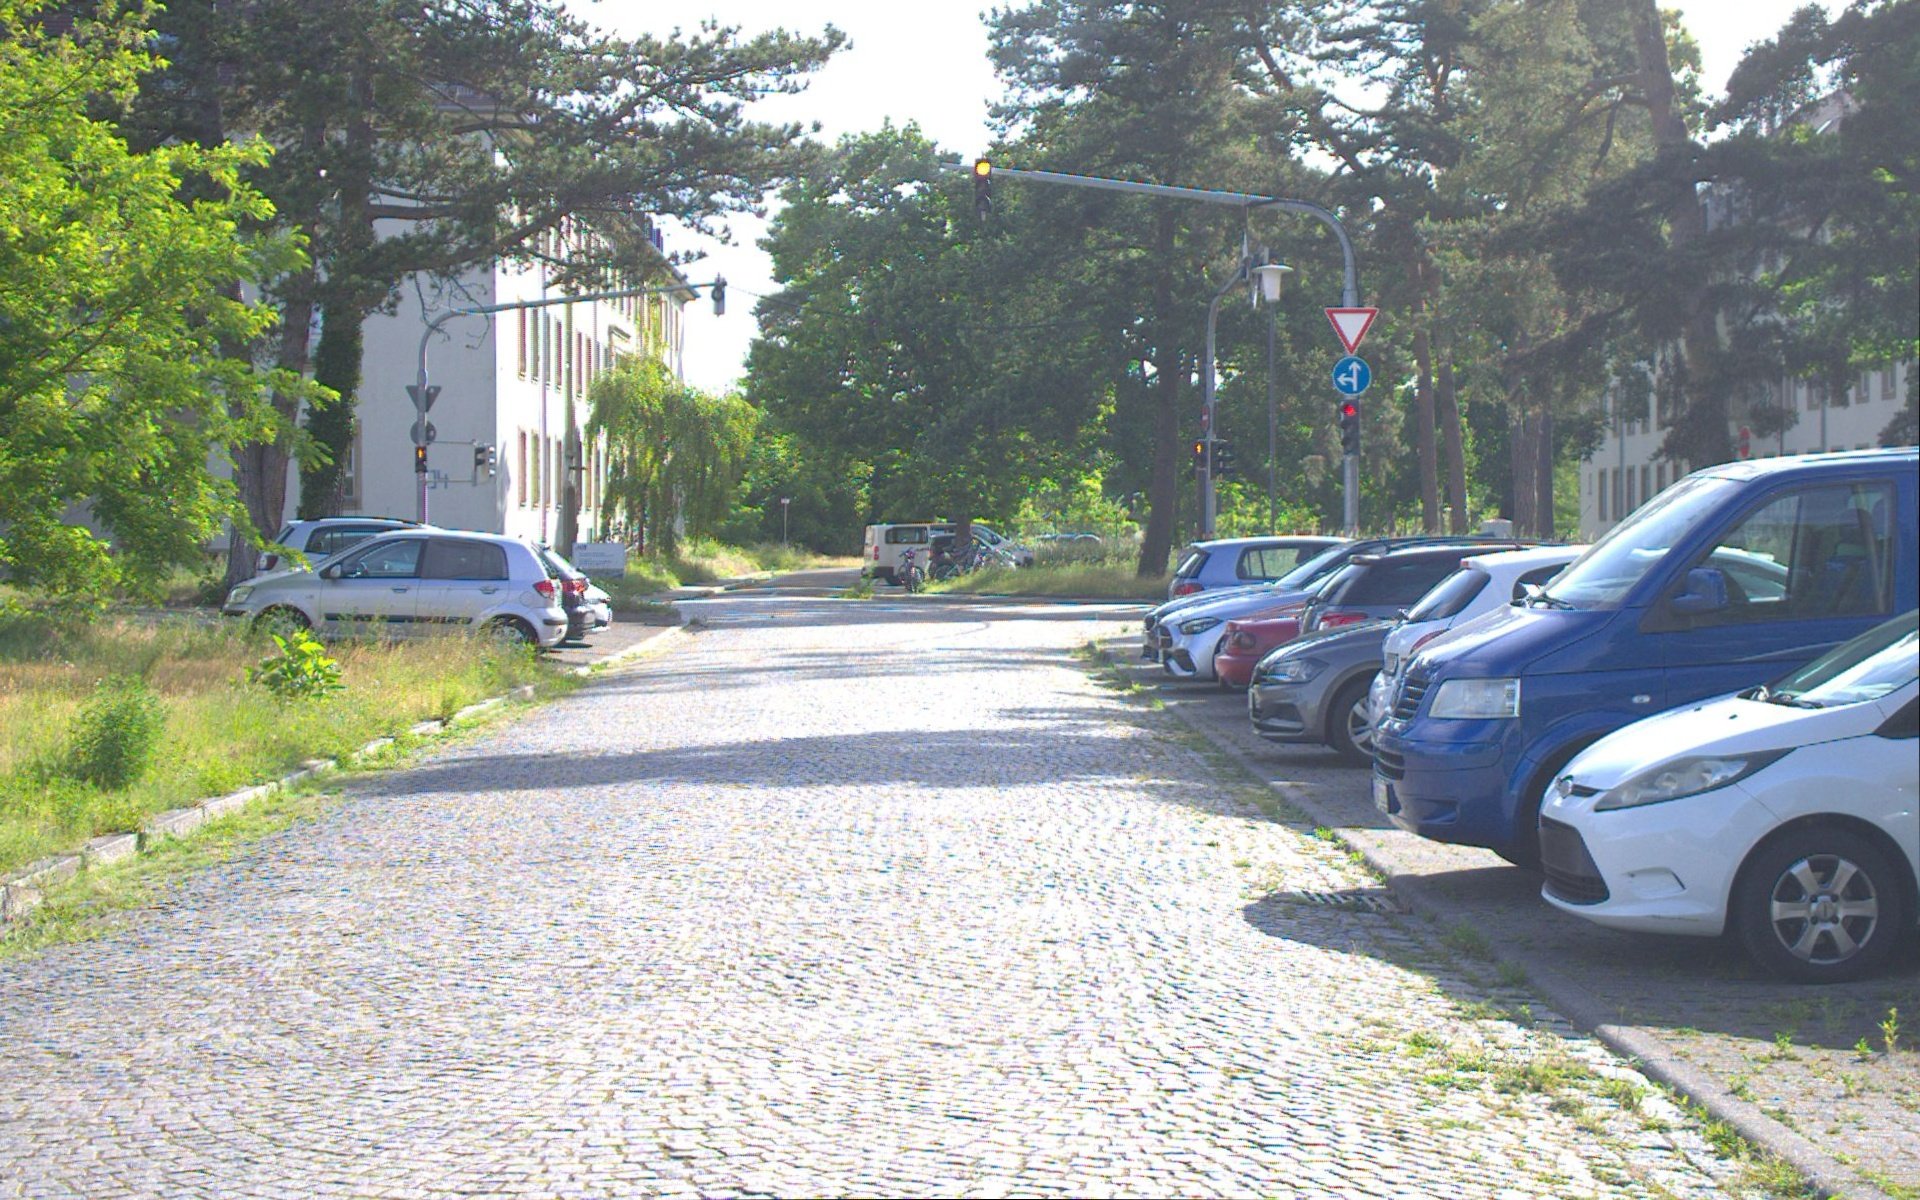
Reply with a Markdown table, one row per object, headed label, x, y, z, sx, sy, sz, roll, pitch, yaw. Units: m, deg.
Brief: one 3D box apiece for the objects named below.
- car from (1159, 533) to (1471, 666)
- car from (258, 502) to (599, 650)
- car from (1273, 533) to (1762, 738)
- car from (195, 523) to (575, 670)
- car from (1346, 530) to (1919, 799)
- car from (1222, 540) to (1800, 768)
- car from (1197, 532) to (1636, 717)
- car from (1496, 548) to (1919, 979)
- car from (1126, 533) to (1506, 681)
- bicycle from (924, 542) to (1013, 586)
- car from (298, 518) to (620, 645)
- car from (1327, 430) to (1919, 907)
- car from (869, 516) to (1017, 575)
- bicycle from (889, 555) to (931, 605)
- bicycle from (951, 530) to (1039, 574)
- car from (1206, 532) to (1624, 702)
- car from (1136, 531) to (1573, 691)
| label | x | y | z | sx | sy | sz | roll | pitch | yaw |
| --- | --- | --- | --- | --- | --- | --- | --- | --- | --- |
| car | 4.014 | -0.022 | 39.255 | 3.343 | 1.477 | 1.646 | 0 | 1 | -2 |
| car | -6.724 | -0.319 | 43.821 | 3.987 | 1.596 | 2.000 | 4 | 1 | -1 |
| car | 4.263 | 0.252 | 26.615 | 3.478 | 1.524 | 1.646 | 0 | 1 | -2 |
| car | -6.369 | -0.059 | 38.436 | 3.986 | 1.595 | 2.000 | 0 | 1 | -3 |
| car | 4.292 | 0.359 | 20.808 | 3.694 | 1.461 | 1.645 | -2 | 1 | 0 |
| car | 3.735 | 0.343 | 23.694 | 3.675 | 1.462 | 1.646 | -1 | 1 | -2 |
| car | 3.844 | 0.190 | 29.304 | 3.478 | 1.524 | 1.646 | 0 | 1 | -2 |
| car | 4.036 | 0.549 | 12.953 | 3.718 | 1.483 | 1.646 | -1 | 1 | -3 |
| car | 3.747 | 0.057 | 36.615 | 3.835 | 1.524 | 1.646 | 0 | 1 | -2 |
| bicycle | 0.217 | -0.935 | 88.230 | 2.172 | 1.096 | 0.807 | 1 | 1 | -10 |
| car | -6.687 | -0.268 | 46.224 | 3.987 | 1.448 | 2.000 | 3 | 1 | -1 |
| car | 4.168 | 0.270 | 15.627 | 4.676 | 2.007 | 2.084 | 0 | 1 | -3 |
| car | -0.523 | -1.690 | 105.690 | 4.480 | 1.722 | 2.000 | 1 | 1 | -1 |
| bicycle | -1.240 | -0.505 | 84.770 | 0.804 | 1.165 | 2.181 | -2 | 1 | -7 |
| bicycle | 0.908 | -1.255 | 89.439 | 2.172 | 1.096 | 0.807 | 1 | 1 | -10 |
| car | 4.153 | 0.139 | 31.766 | 3.602 | 1.524 | 1.646 | 0 | 1 | -2 |
| car | 3.838 | 0.093 | 33.843 | 4.033 | 1.524 | 1.646 | 0 | 1 | -4 |
